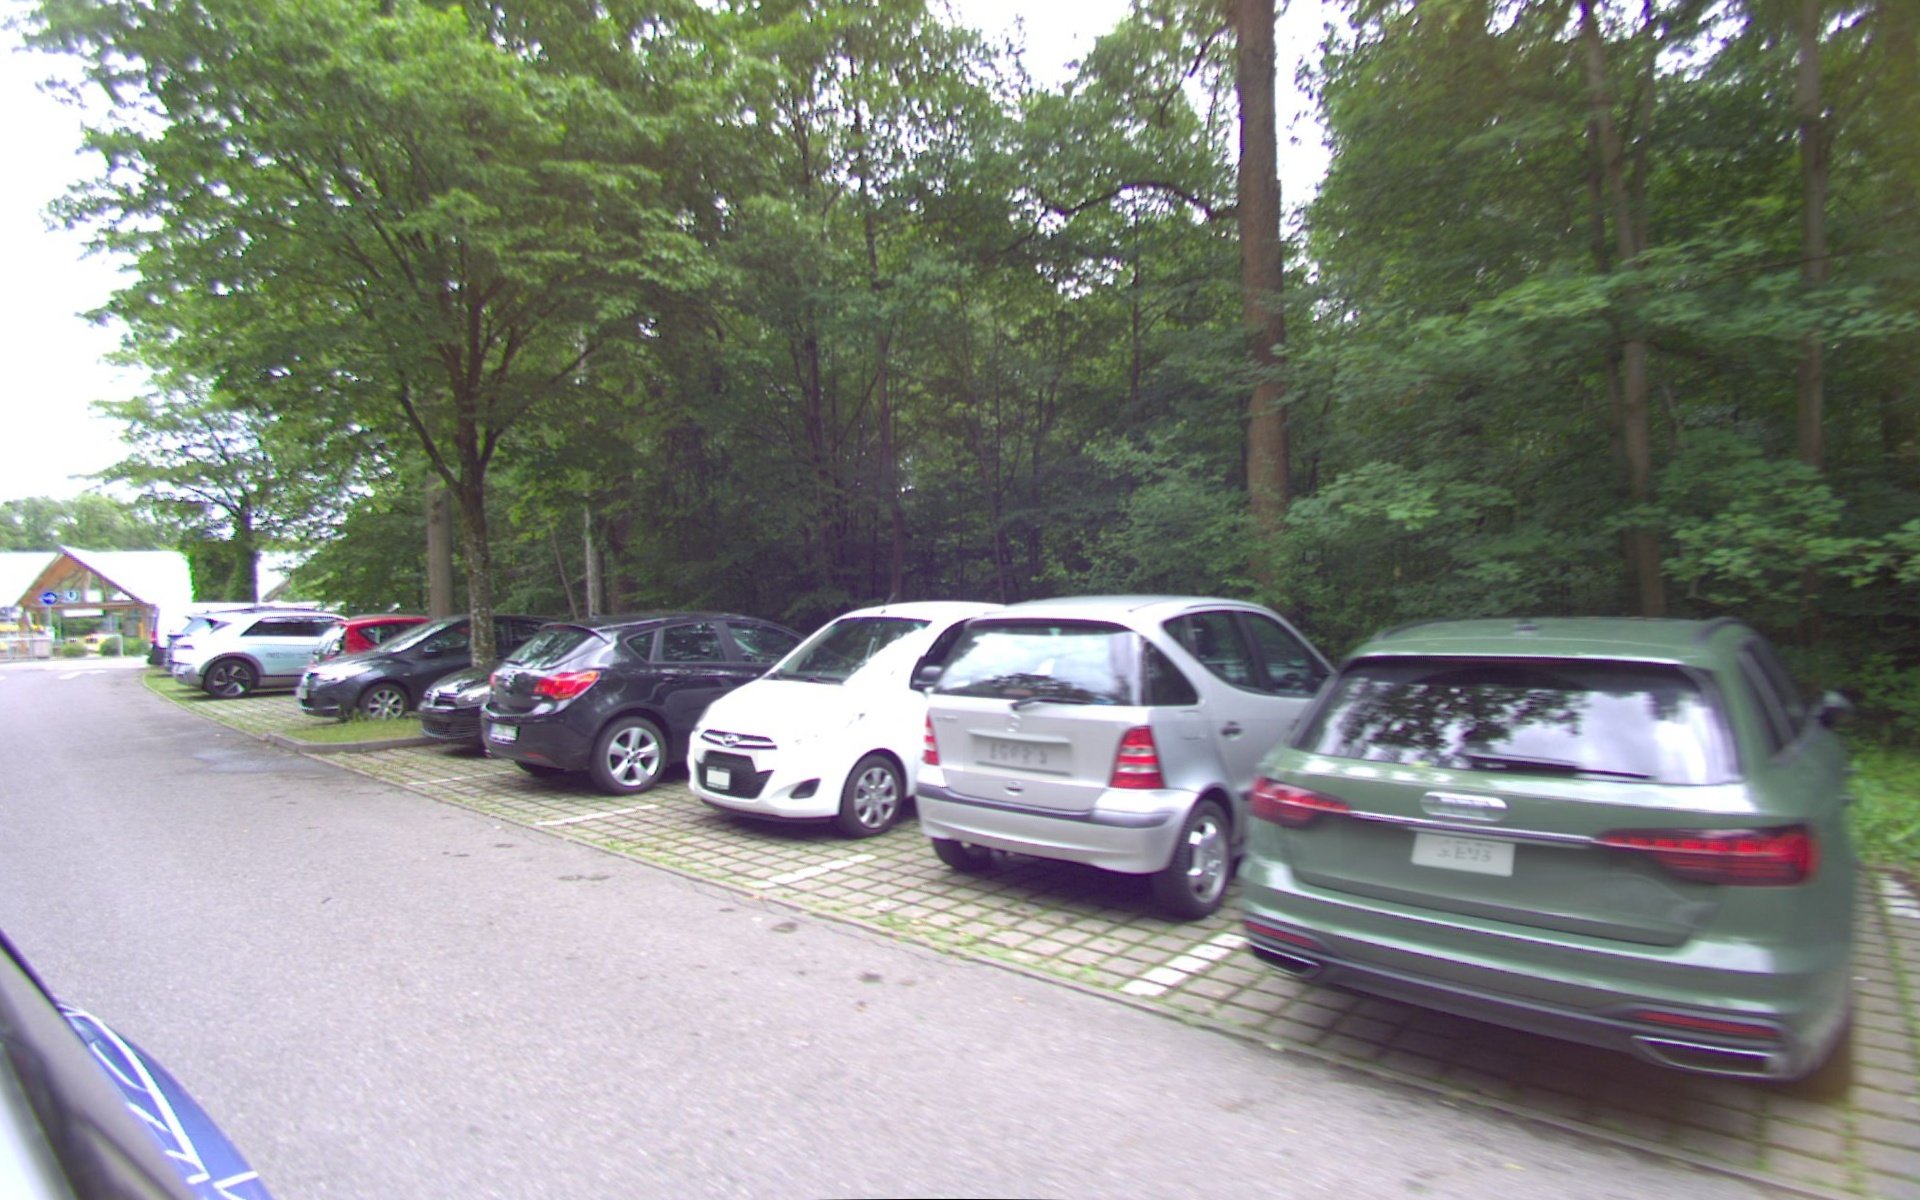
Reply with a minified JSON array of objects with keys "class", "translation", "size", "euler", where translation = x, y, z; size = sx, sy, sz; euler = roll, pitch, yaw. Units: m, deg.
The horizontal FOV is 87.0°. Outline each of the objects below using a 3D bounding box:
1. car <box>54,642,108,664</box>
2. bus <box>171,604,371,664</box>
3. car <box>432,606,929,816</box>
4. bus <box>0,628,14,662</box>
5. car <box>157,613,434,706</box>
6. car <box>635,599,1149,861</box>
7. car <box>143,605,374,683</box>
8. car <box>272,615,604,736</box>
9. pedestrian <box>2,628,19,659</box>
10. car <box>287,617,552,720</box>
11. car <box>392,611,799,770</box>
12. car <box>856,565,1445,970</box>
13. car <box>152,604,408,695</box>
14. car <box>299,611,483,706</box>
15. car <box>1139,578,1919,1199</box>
[{"class":"car","translation":[-110.595,6.675,127.407],"size":[1.969,2.513,6.158],"euler":[-4,-1,-7]},{"class":"bus","translation":[-40.838,1.966,60.603],"size":[2.788,3.183,10.460],"euler":[-4,-2,17]},{"class":"car","translation":[-2.496,0.855,9.744],"size":[2.007,1.541,4.186],"euler":[-2,-1,44]},{"class":"bus","translation":[-100.970,4.515,98.305],"size":[3.914,3.509,18.618],"euler":[-4,-1,-11]},{"class":"car","translation":[-12.996,1.081,19.938],"size":[4.302,1.610,2.033],"euler":[0,-1,-42]},{"class":"car","translation":[-0.287,0.804,8.184],"size":[1.761,1.545,4.190],"euler":[-2,-2,40]},{"class":"car","translation":[-18.988,1.135,27.551],"size":[5.020,1.930,1.982],"euler":[0,-2,-38]},{"class":"car","translation":[-7.409,0.980,14.647],"size":[1.707,1.502,3.943],"euler":[-2,-2,43]},{"class":"pedestrian","translation":[-57.795,2.647,61.582],"size":[0.668,1.771,0.647],"euler":[-5,-2,40]},{"class":"car","translation":[-8.870,1.050,16.754],"size":[3.564,1.485,1.676],"euler":[0,-2,-43]},{"class":"car","translation":[-4.087,0.891,11.881],"size":[1.720,1.484,4.187],"euler":[-1,0,43]},{"class":"car","translation":[1.504,0.725,6.436],"size":[1.967,1.660,4.192],"euler":[-2,-2,38]},{"class":"car","translation":[-14.623,0.998,21.872],"size":[4.370,1.707,2.174],"euler":[-1,-1,-41]},{"class":"car","translation":[-10.414,1.023,18.598],"size":[1.446,1.553,2.630],"euler":[-2,-1,44]},{"class":"car","translation":[2.874,0.735,4.496],"size":[2.093,1.489,4.592],"euler":[-2,-2,40]}]
